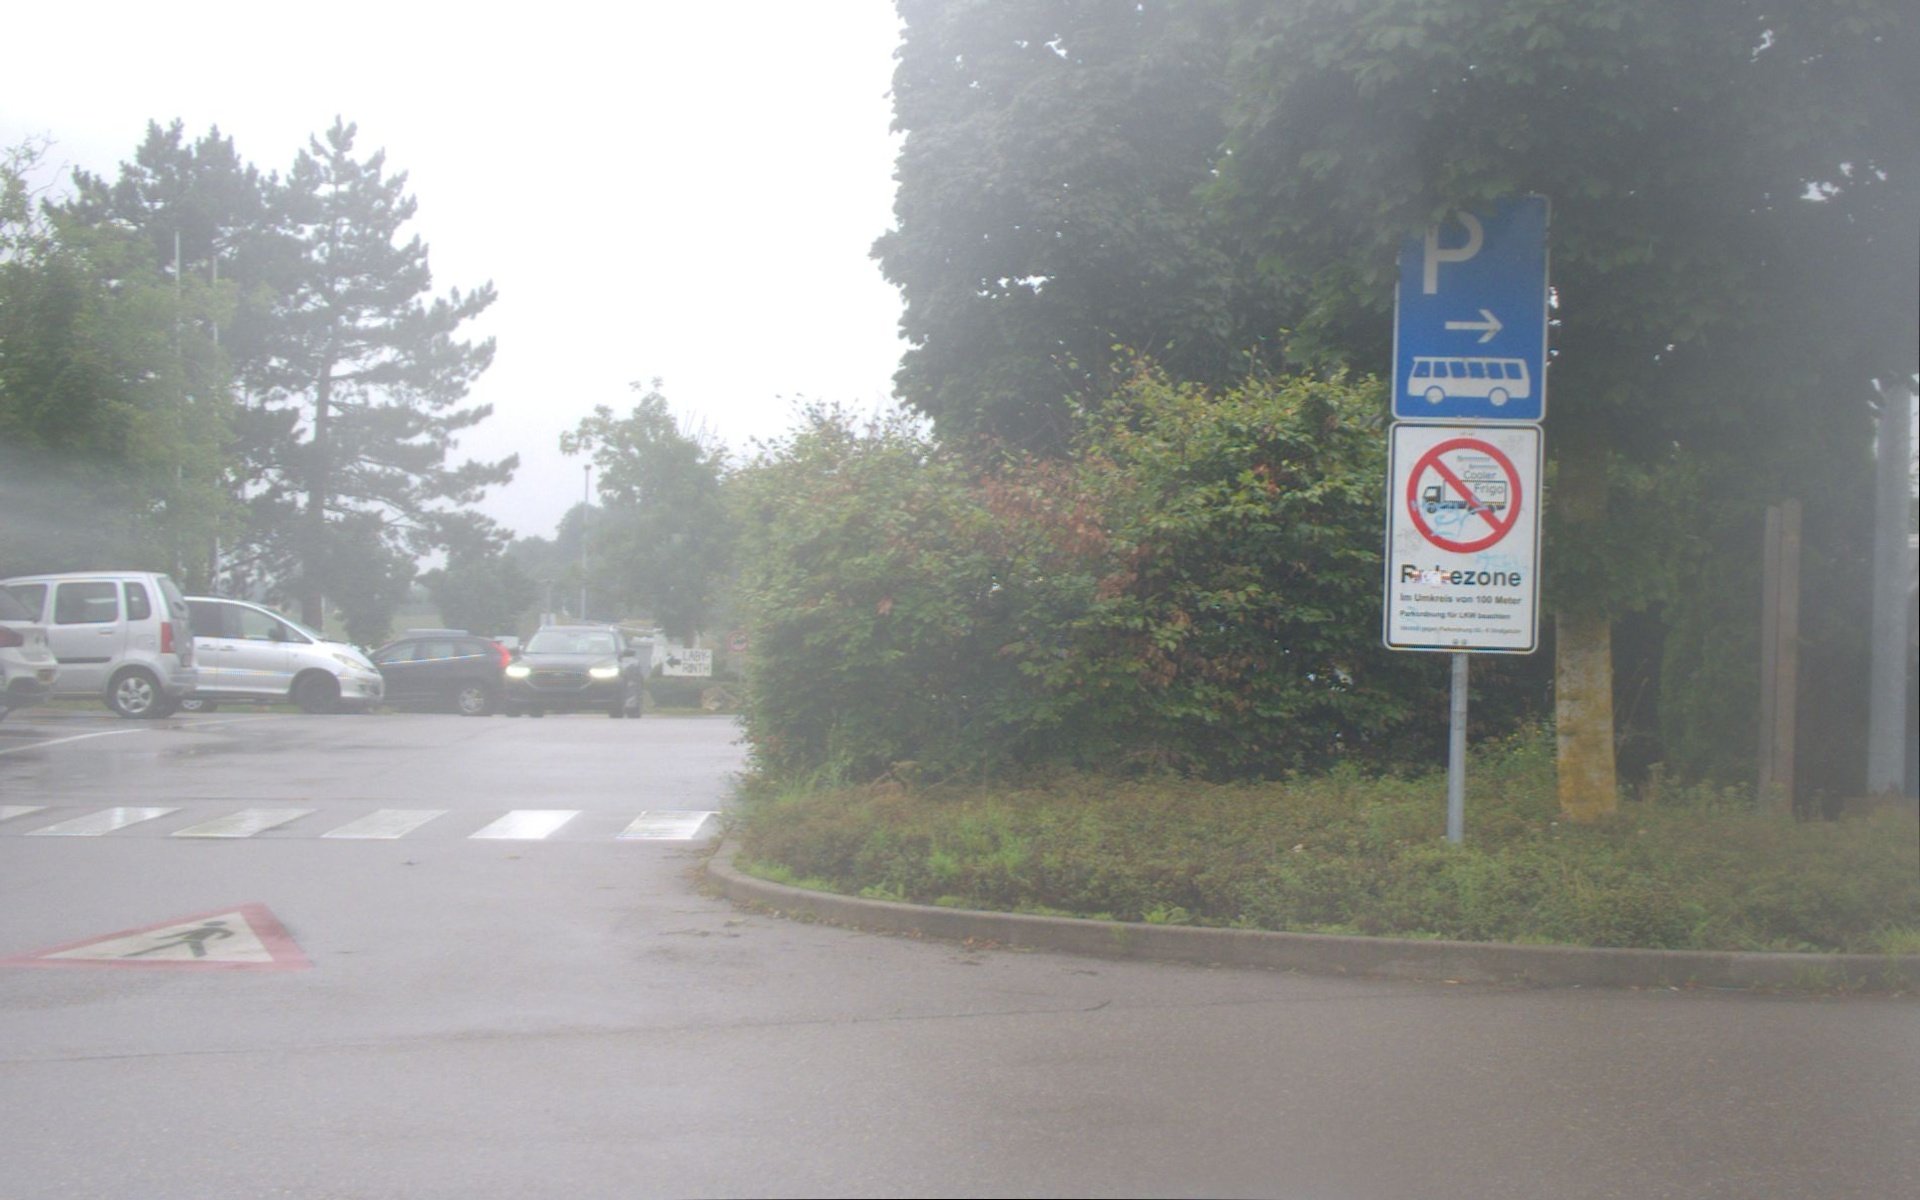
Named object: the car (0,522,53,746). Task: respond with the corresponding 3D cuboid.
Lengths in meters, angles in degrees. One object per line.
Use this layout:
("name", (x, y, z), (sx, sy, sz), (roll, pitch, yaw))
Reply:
("car", (-10.164, 0.227, 28.199), (4.934, 1.786, 2.000), (1, 1, -2))

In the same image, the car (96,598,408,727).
("car", (-10.689, 0.960, 52.114), (4.354, 1.856, 1.851), (1, -2, -2))

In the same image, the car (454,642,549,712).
("car", (-9.505, 1.616, 71.475), (1.645, 1.366, 3.813), (2, -2, -3))

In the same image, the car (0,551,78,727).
("car", (-10.247, 0.295, 30.871), (4.184, 1.512, 1.743), (1, 1, 0))

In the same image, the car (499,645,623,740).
("car", (-6.111, 1.444, 52.966), (1.645, 1.366, 4.000), (2, -2, -3))

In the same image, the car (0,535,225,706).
("car", (-10.529, 0.242, 38.990), (4.010, 1.856, 1.851), (1, -2, -2))

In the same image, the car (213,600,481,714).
("car", (-10.680, 0.990, 60.138), (4.354, 1.856, 1.851), (2, -1, -2))
